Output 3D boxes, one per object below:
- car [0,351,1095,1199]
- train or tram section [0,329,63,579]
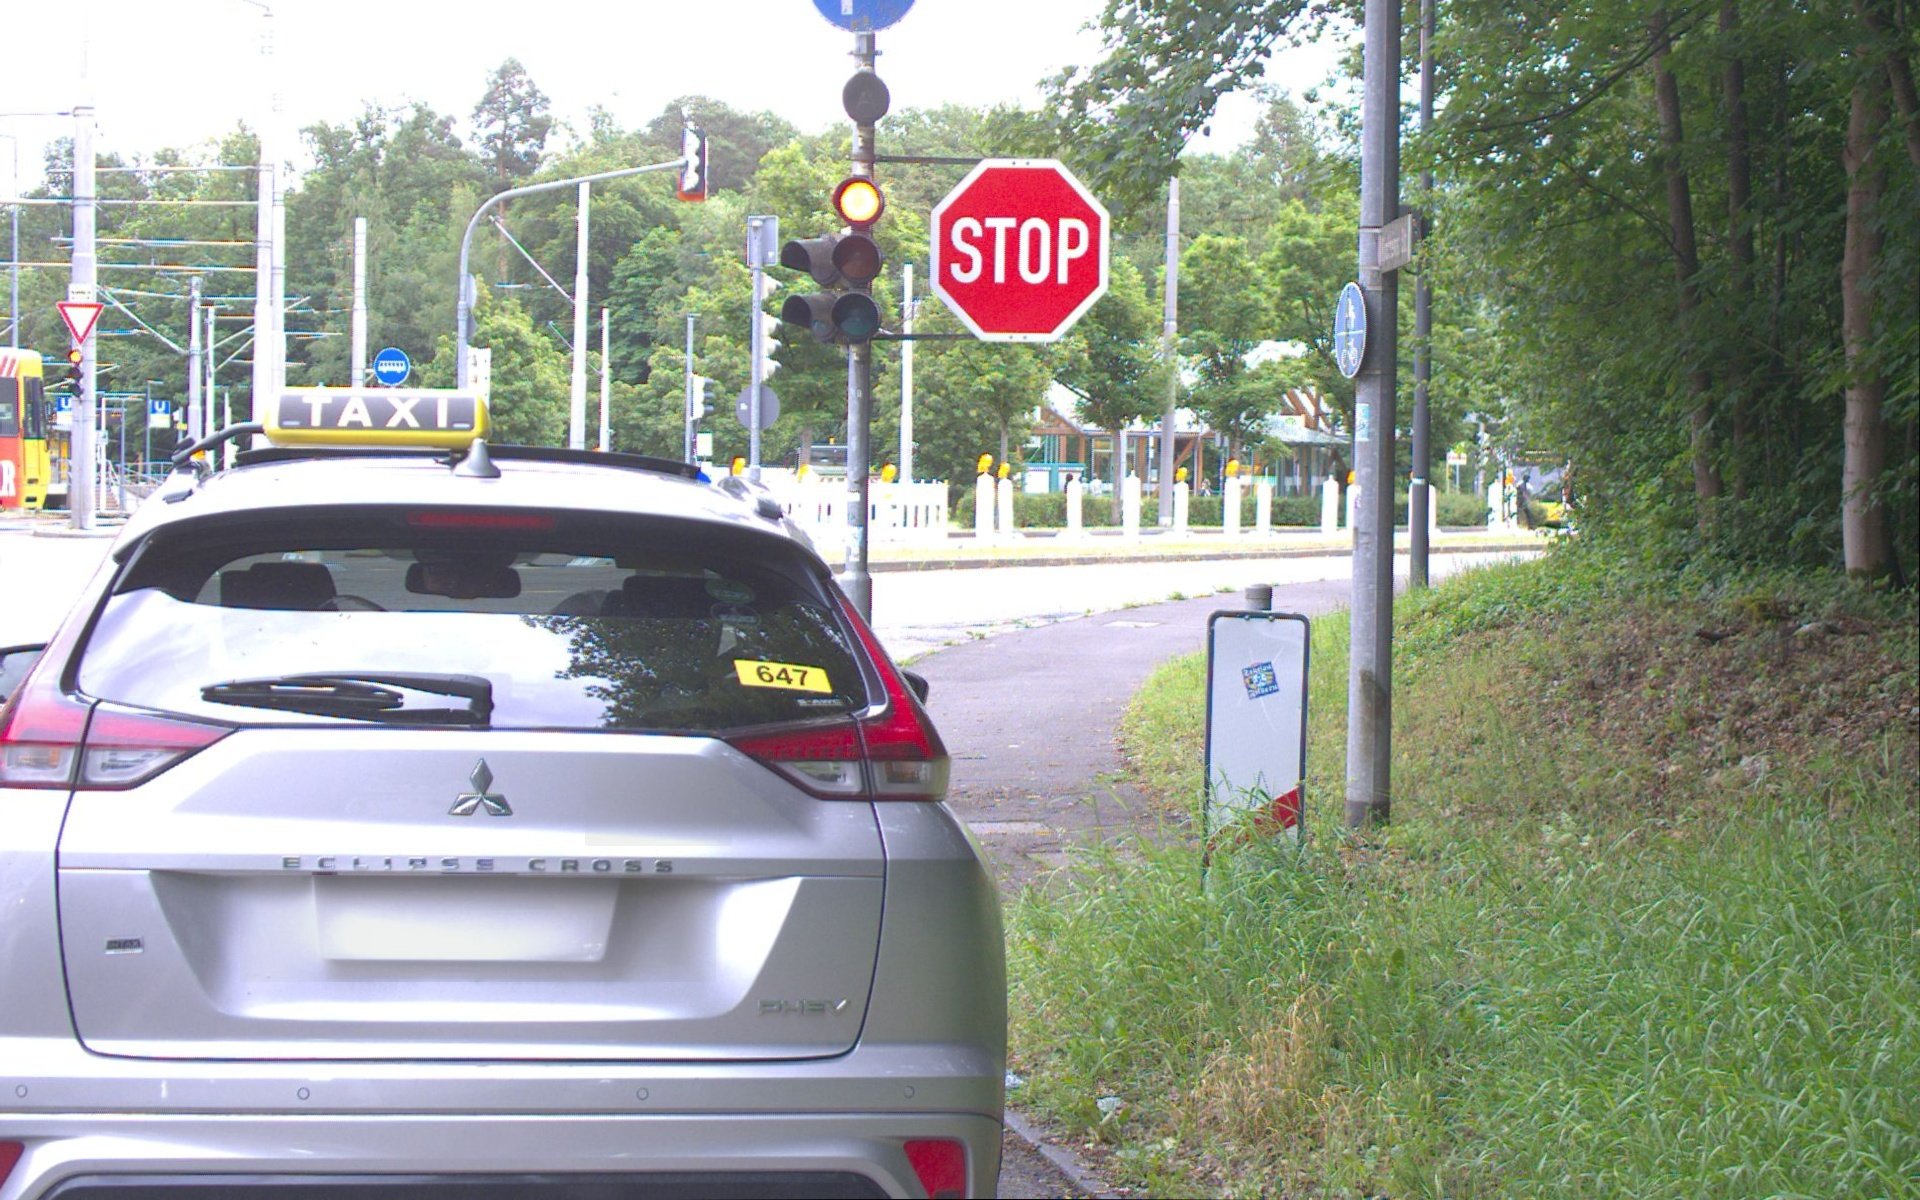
[{"bbox_3d":[-1.002,0.478,6.823,1.773,1.742,3.782,2,2,-9],"label":"car"},{"bbox_3d":[-20.515,-2.678,57.340,2.948,4.634,18.537,1,1,11],"label":"train or tram section"}]
